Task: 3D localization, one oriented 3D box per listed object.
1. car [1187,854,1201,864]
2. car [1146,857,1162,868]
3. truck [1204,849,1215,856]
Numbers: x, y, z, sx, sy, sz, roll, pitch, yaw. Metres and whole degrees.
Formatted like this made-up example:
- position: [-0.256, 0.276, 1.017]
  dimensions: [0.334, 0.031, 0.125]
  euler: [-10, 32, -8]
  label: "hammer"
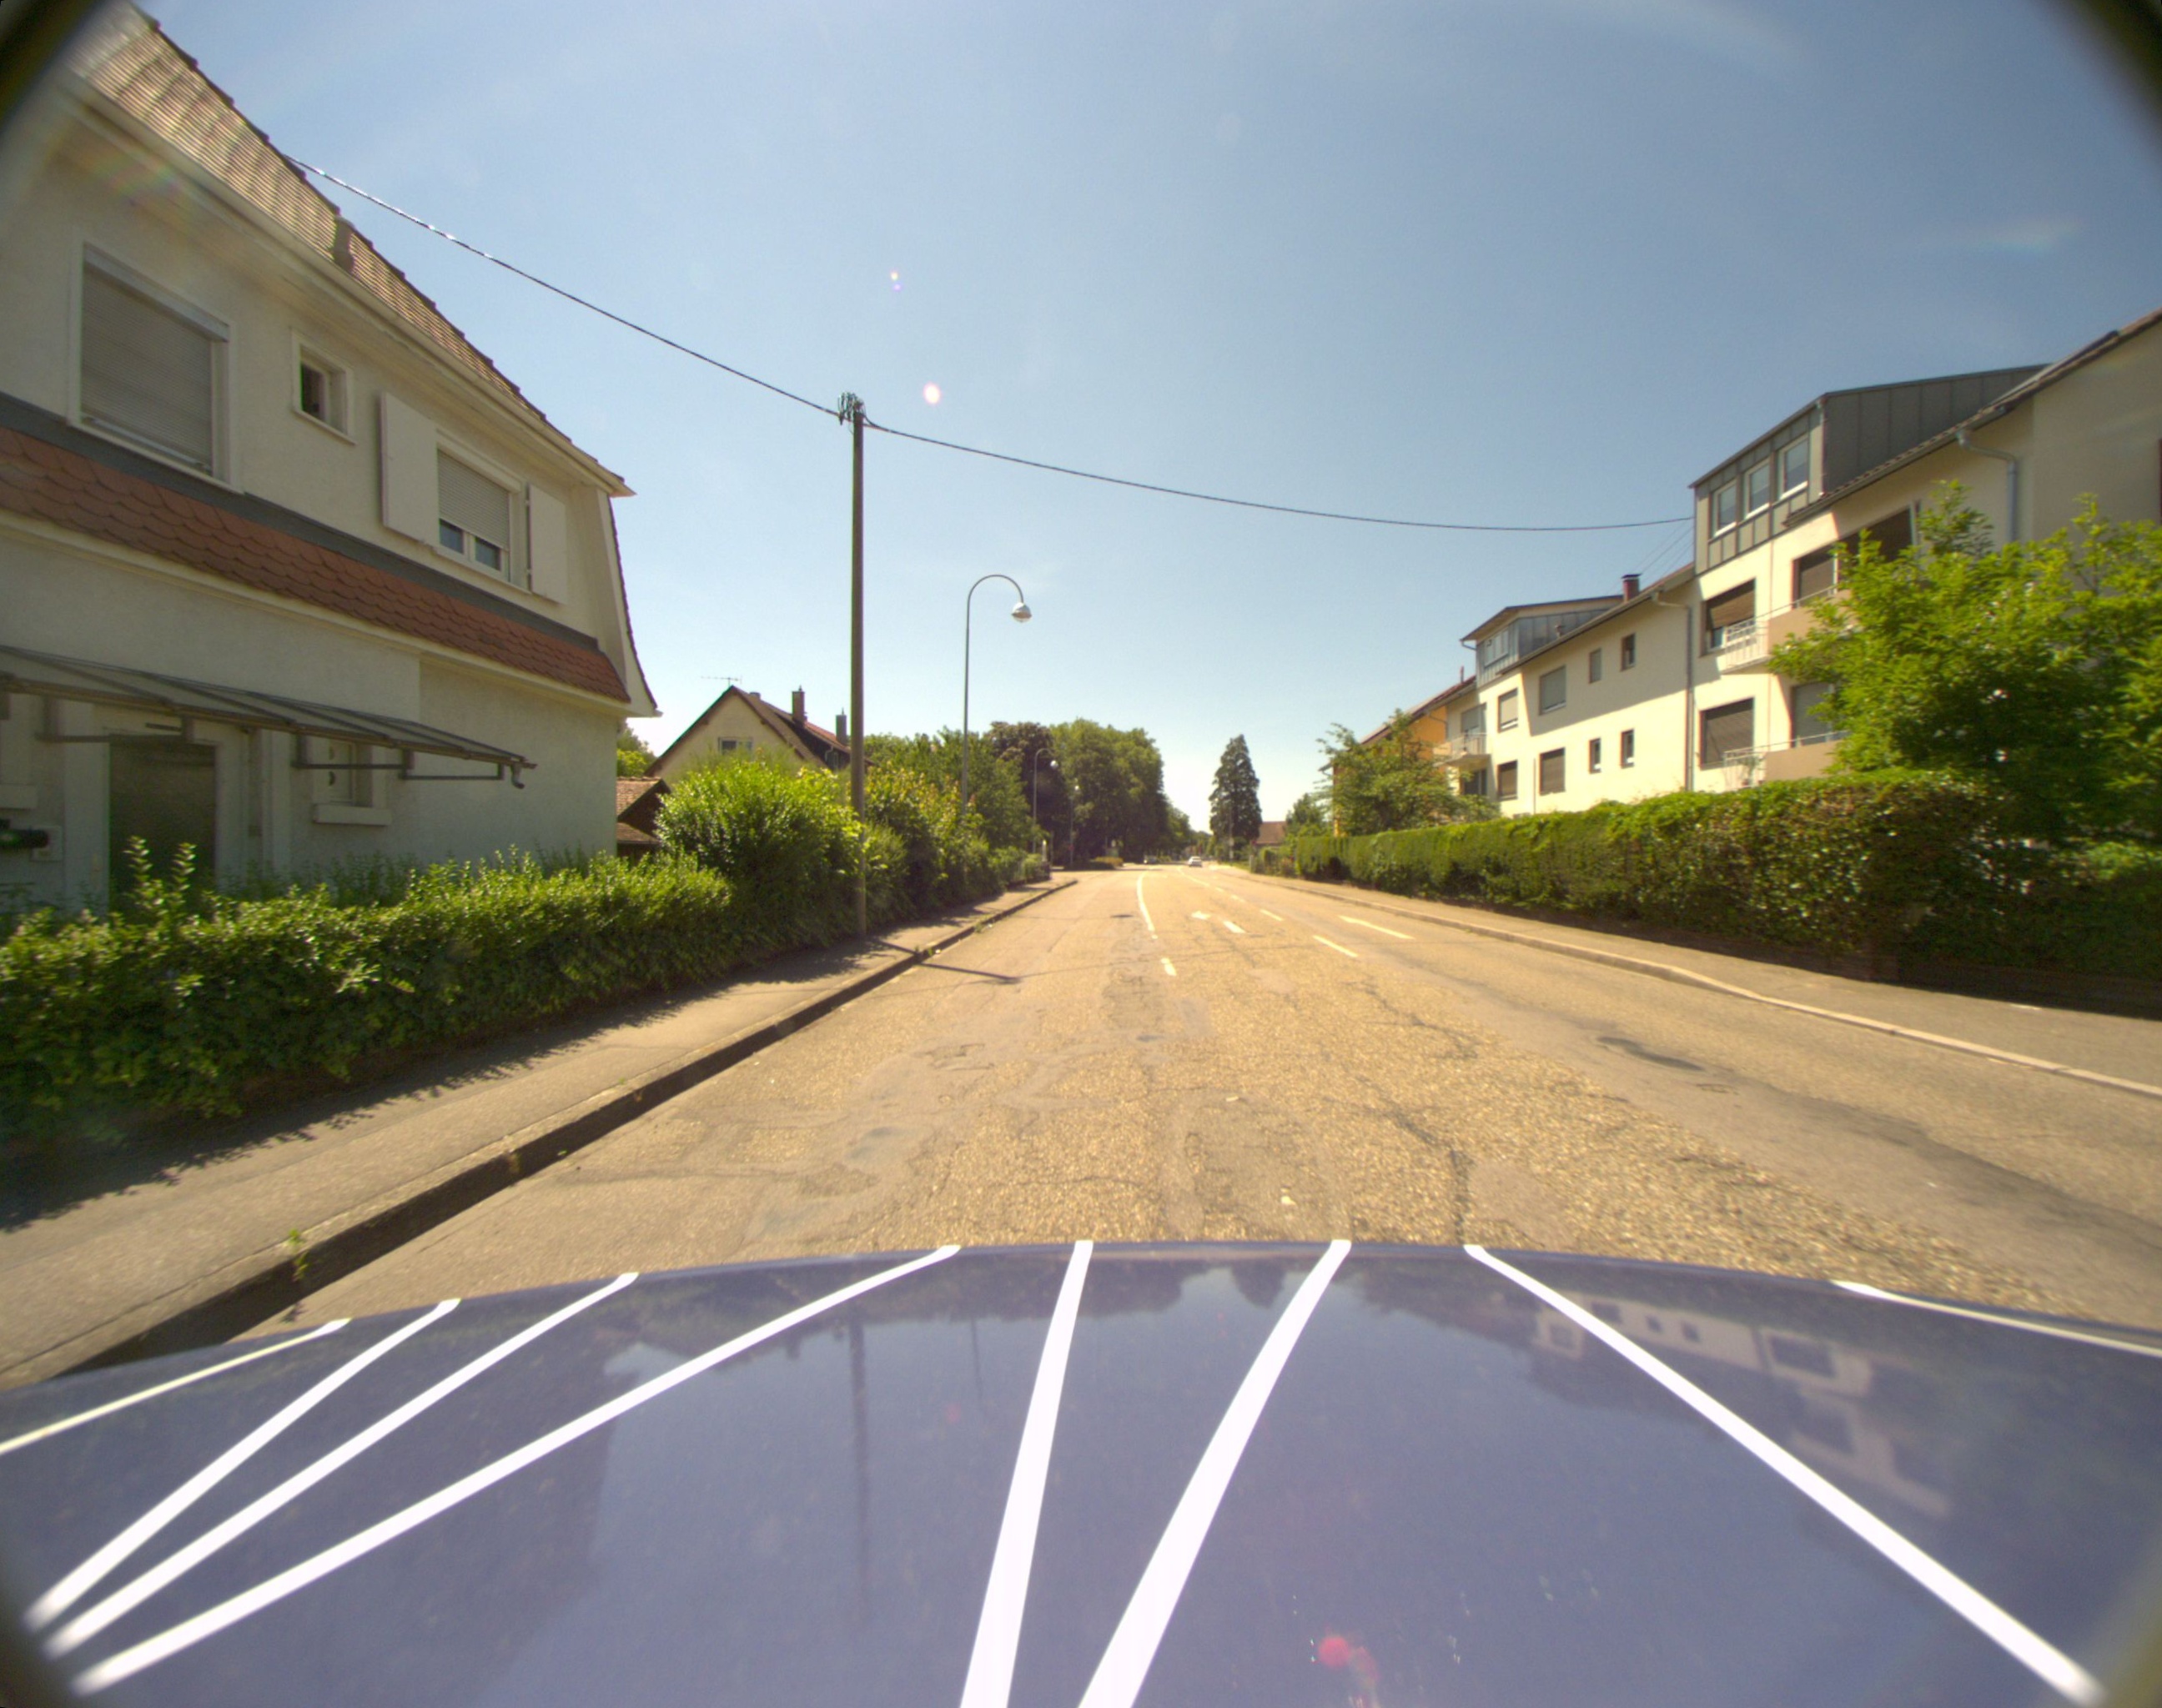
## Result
- position: [15.249, 0.667, 102.603]
  dimensions: [1.684, 1.364, 4.208]
  euler: [1, 0, 5]
  label: "car"
- position: [11.084, 1.218, 114.750]
  dimensions: [1.882, 1.623, 4.325]
  euler: [1, 0, 12]
  label: "car"
- position: [38.951, -0.476, 230.354]
  dimensions: [2.619, 2.228, 6.265]
  euler: [0, 0, 17]
  label: "truck"
